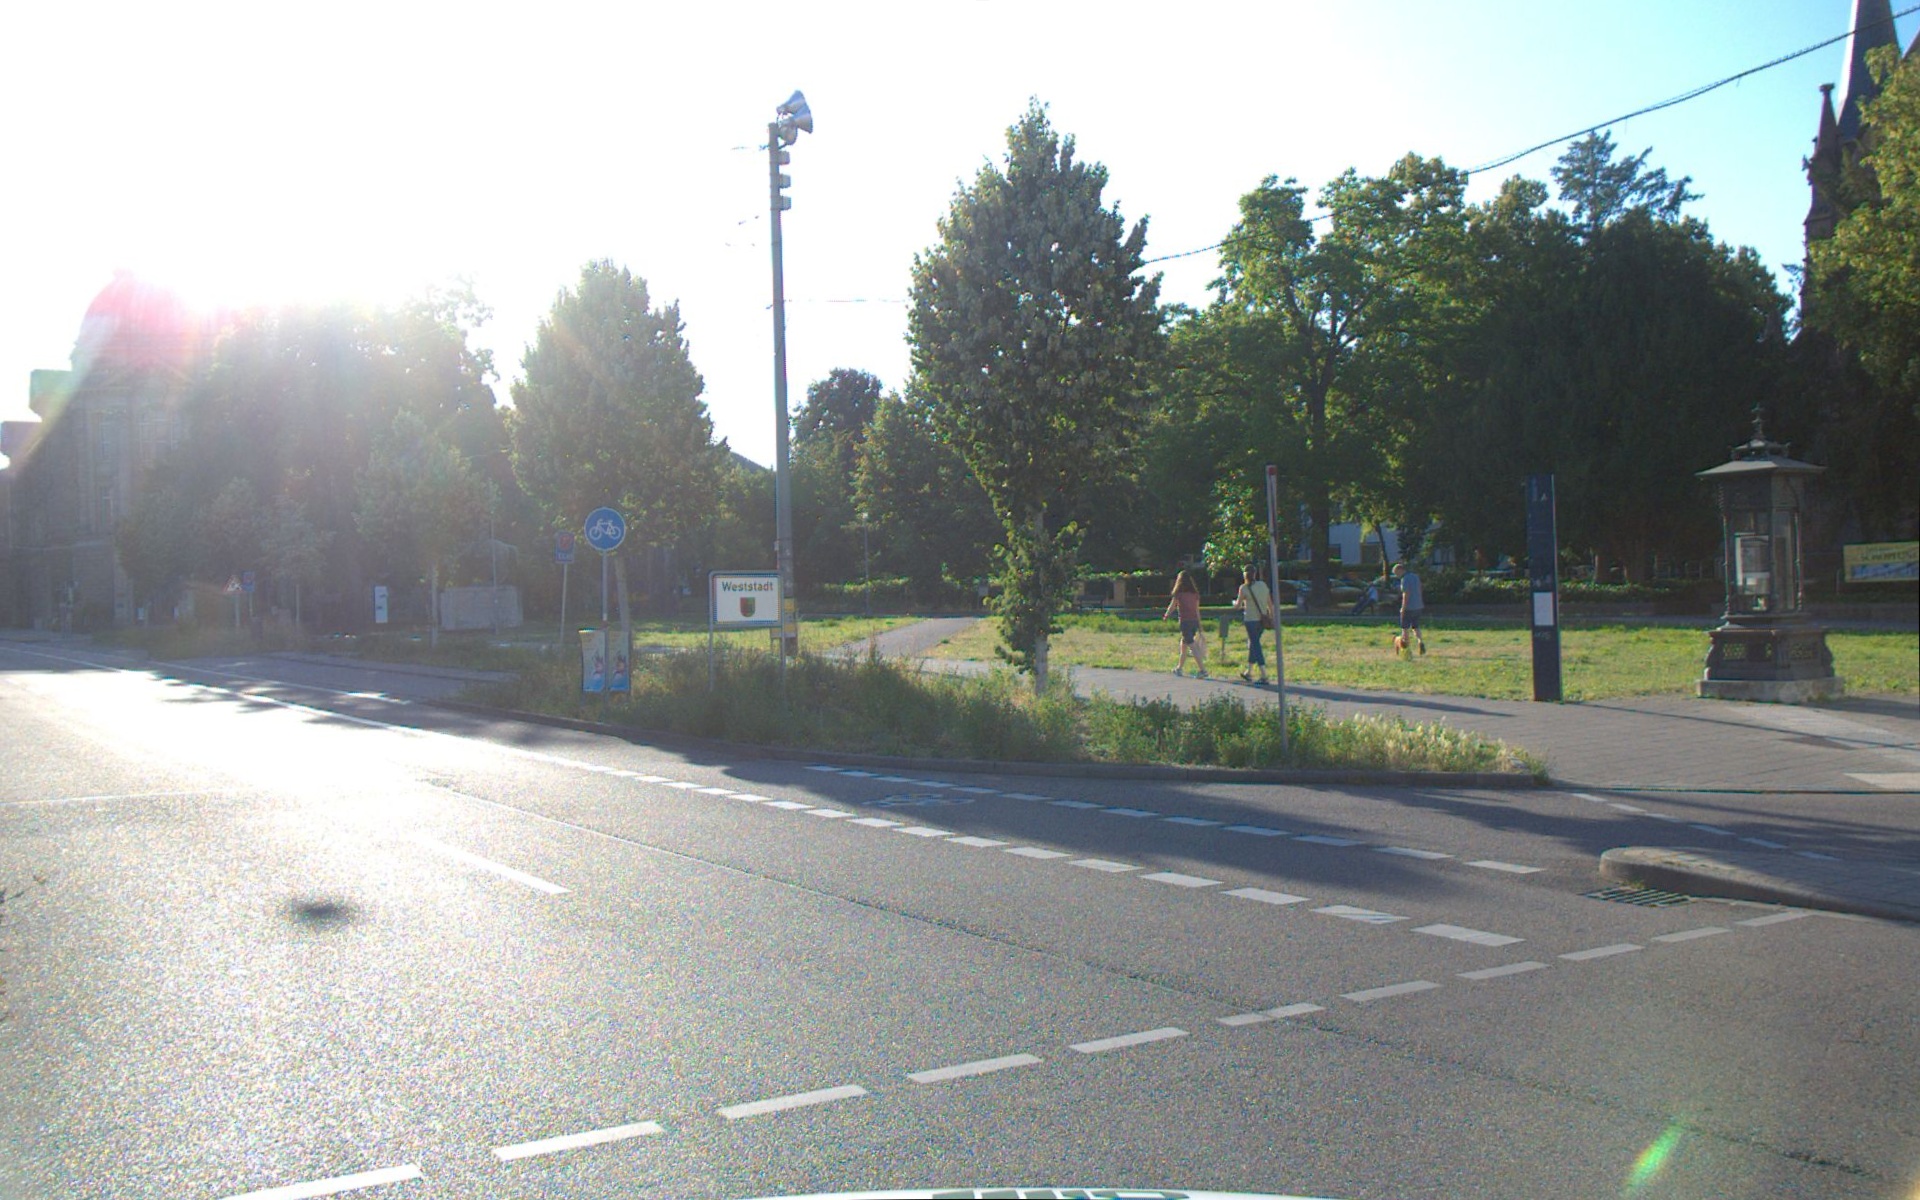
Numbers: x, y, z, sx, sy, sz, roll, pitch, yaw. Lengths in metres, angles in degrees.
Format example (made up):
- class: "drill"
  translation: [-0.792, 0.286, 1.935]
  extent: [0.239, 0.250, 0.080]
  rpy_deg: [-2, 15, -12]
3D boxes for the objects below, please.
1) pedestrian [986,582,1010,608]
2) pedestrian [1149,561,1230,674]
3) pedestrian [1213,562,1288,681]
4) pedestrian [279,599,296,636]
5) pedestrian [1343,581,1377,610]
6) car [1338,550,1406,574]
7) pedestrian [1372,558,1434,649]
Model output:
- class: "pedestrian"
  translation: [1.821, -0.251, 79.001]
  extent: [0.803, 1.208, 0.835]
  rpy_deg: [-2, 0, -34]
- class: "pedestrian"
  translation: [3.630, 0.258, 26.215]
  extent: [0.831, 1.726, 1.009]
  rpy_deg: [-2, 2, -24]
- class: "pedestrian"
  translation: [4.362, 0.309, 24.838]
  extent: [0.699, 1.726, 0.889]
  rpy_deg: [-2, 2, -25]
- class: "pedestrian"
  translation: [-34.035, 0.876, 83.715]
  extent: [0.676, 1.854, 0.530]
  rpy_deg: [-2, 0, -29]
- class: "pedestrian"
  translation: [14.402, -0.166, 59.515]
  extent: [0.788, 0.970, 1.170]
  rpy_deg: [0, 2, 36]
- class: "car"
  translation: [29.723, -2.731, 119.441]
  extent: [1.985, 1.599, 4.393]
  rpy_deg: [-3, 1, -43]
- class: "pedestrian"
  translation: [8.609, 0.053, 32.170]
  extent: [0.826, 1.726, 1.015]
  rpy_deg: [-2, 1, -7]
